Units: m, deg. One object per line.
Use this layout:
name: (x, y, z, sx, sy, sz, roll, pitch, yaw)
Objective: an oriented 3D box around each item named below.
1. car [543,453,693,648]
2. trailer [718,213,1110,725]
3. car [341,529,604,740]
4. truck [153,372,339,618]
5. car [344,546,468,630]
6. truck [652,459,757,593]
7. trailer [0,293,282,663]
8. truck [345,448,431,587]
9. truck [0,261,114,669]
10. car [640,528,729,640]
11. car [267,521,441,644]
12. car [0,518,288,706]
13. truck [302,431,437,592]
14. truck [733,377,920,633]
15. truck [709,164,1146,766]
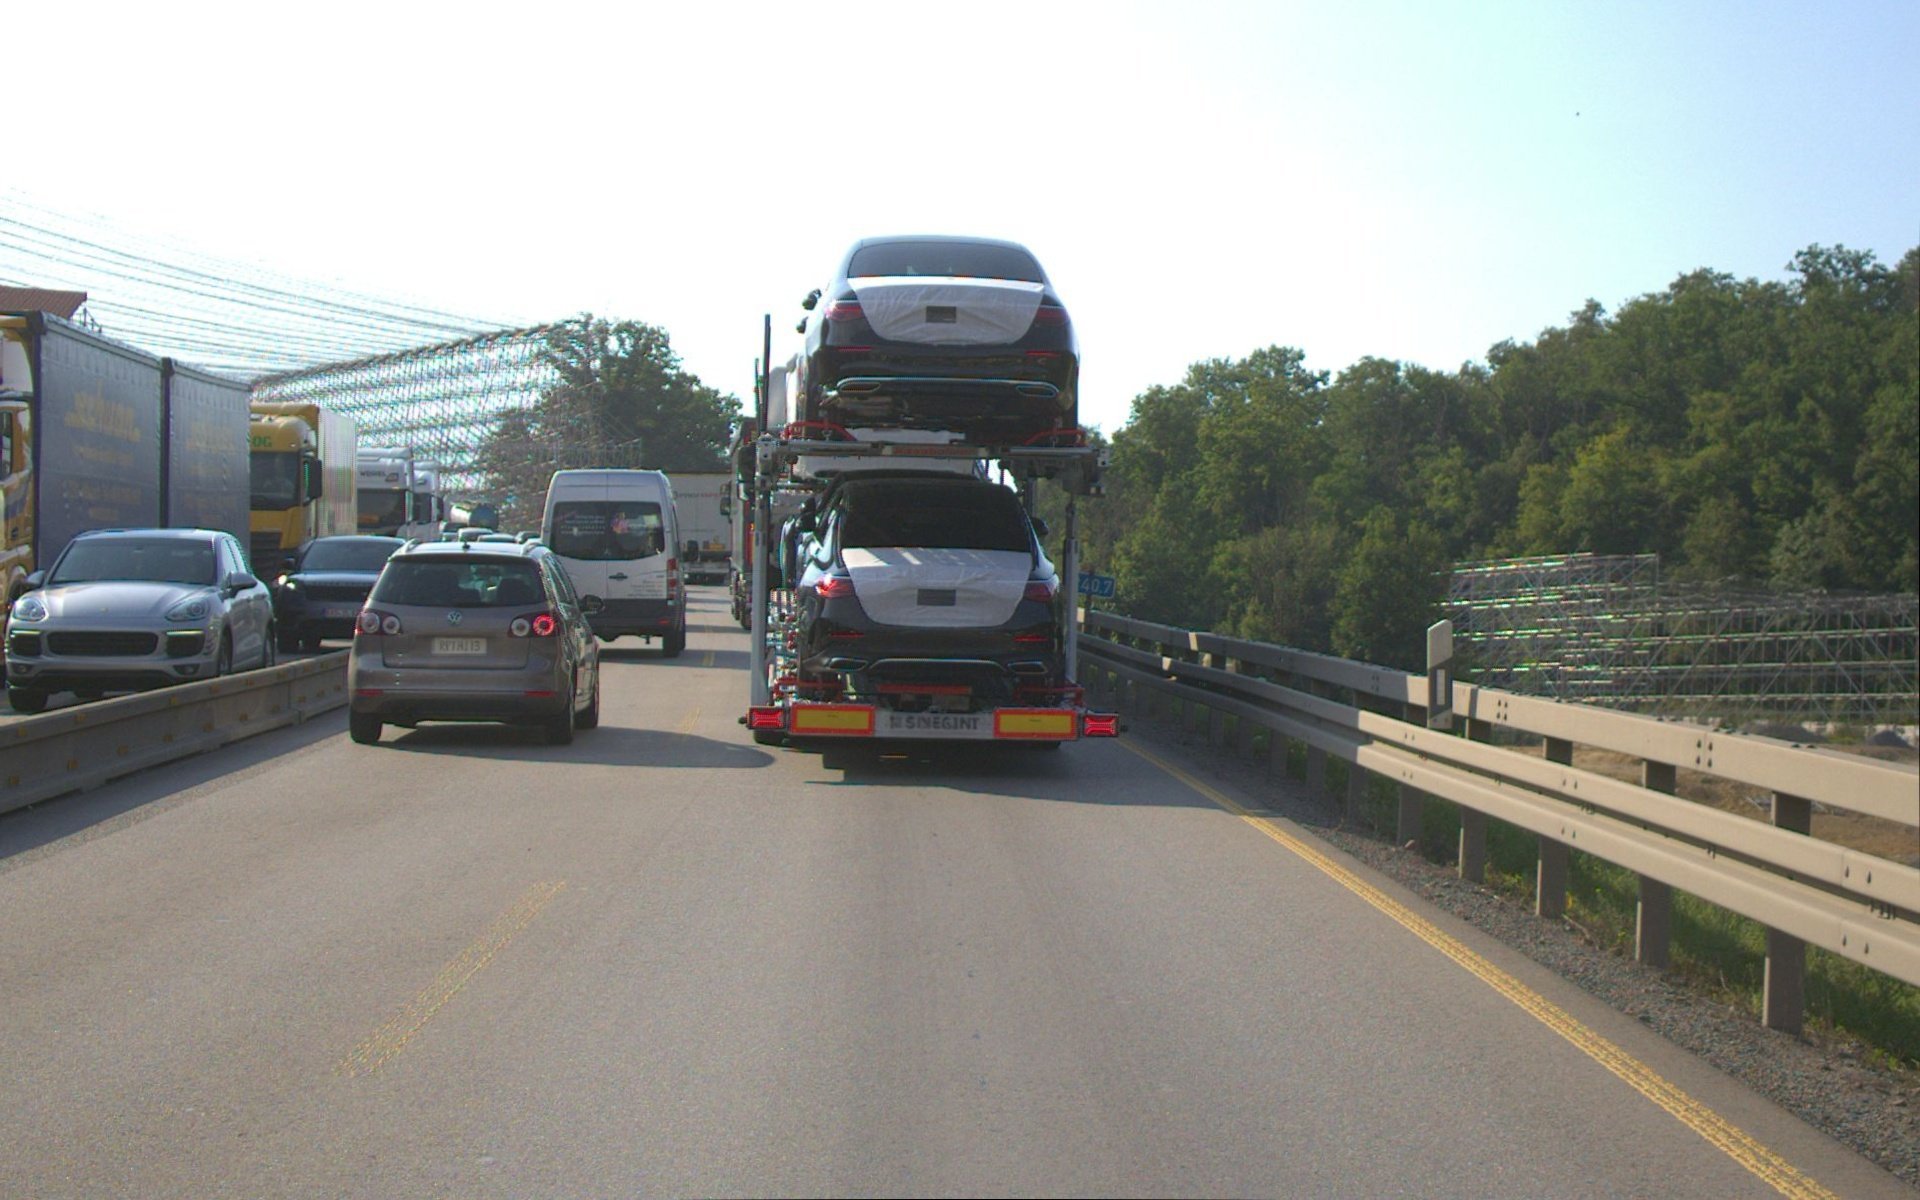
car: (-4.876, -0.681, 49.495, 1.979, 2.675, 4.147, 0, 0, -4)
trailer: (-0.888, -1.014, 34.522, 2.874, 3.980, 15.281, 0, 0, -5)
car: (-3.884, 0.264, 27.954, 1.700, 1.581, 4.147, 0, 0, -2)
truck: (-12.560, -1.785, 60.797, 2.693, 4.183, 4.399, 0, 0, -5)
car: (-10.325, -0.217, 64.349, 1.788, 1.492, 4.725, 0, 0, -3)
truck: (-9.515, -2.765, 127.447, 3.647, 4.661, 11.697, 1, 1, -5)
trailer: (-11.730, -1.364, 46.625, 2.714, 4.120, 16.754, 0, 0, -3)
truck: (-18.156, -2.561, 109.388, 2.443, 4.257, 6.323, 0, 0, -7)
truck: (-11.178, -1.375, 37.622, 2.701, 4.126, 5.795, 0, 0, -3)
car: (-5.288, -0.298, 65.631, 1.528, 2.007, 4.001, 3, 0, -5)
car: (-8.763, -0.240, 50.047, 1.927, 1.696, 4.692, 0, 0, -3)
car: (-7.716, 0.111, 32.593, 1.959, 1.639, 4.849, 0, 0, -3)
truck: (-15.893, -2.245, 93.346, 2.808, 3.956, 13.896, 1, 0, -7)
truck: (-2.839, -1.892, 69.095, 3.227, 4.661, 11.697, 1, 1, -4)
truck: (-0.273, -0.888, 25.645, 2.870, 3.966, 5.772, 0, 0, -1)
